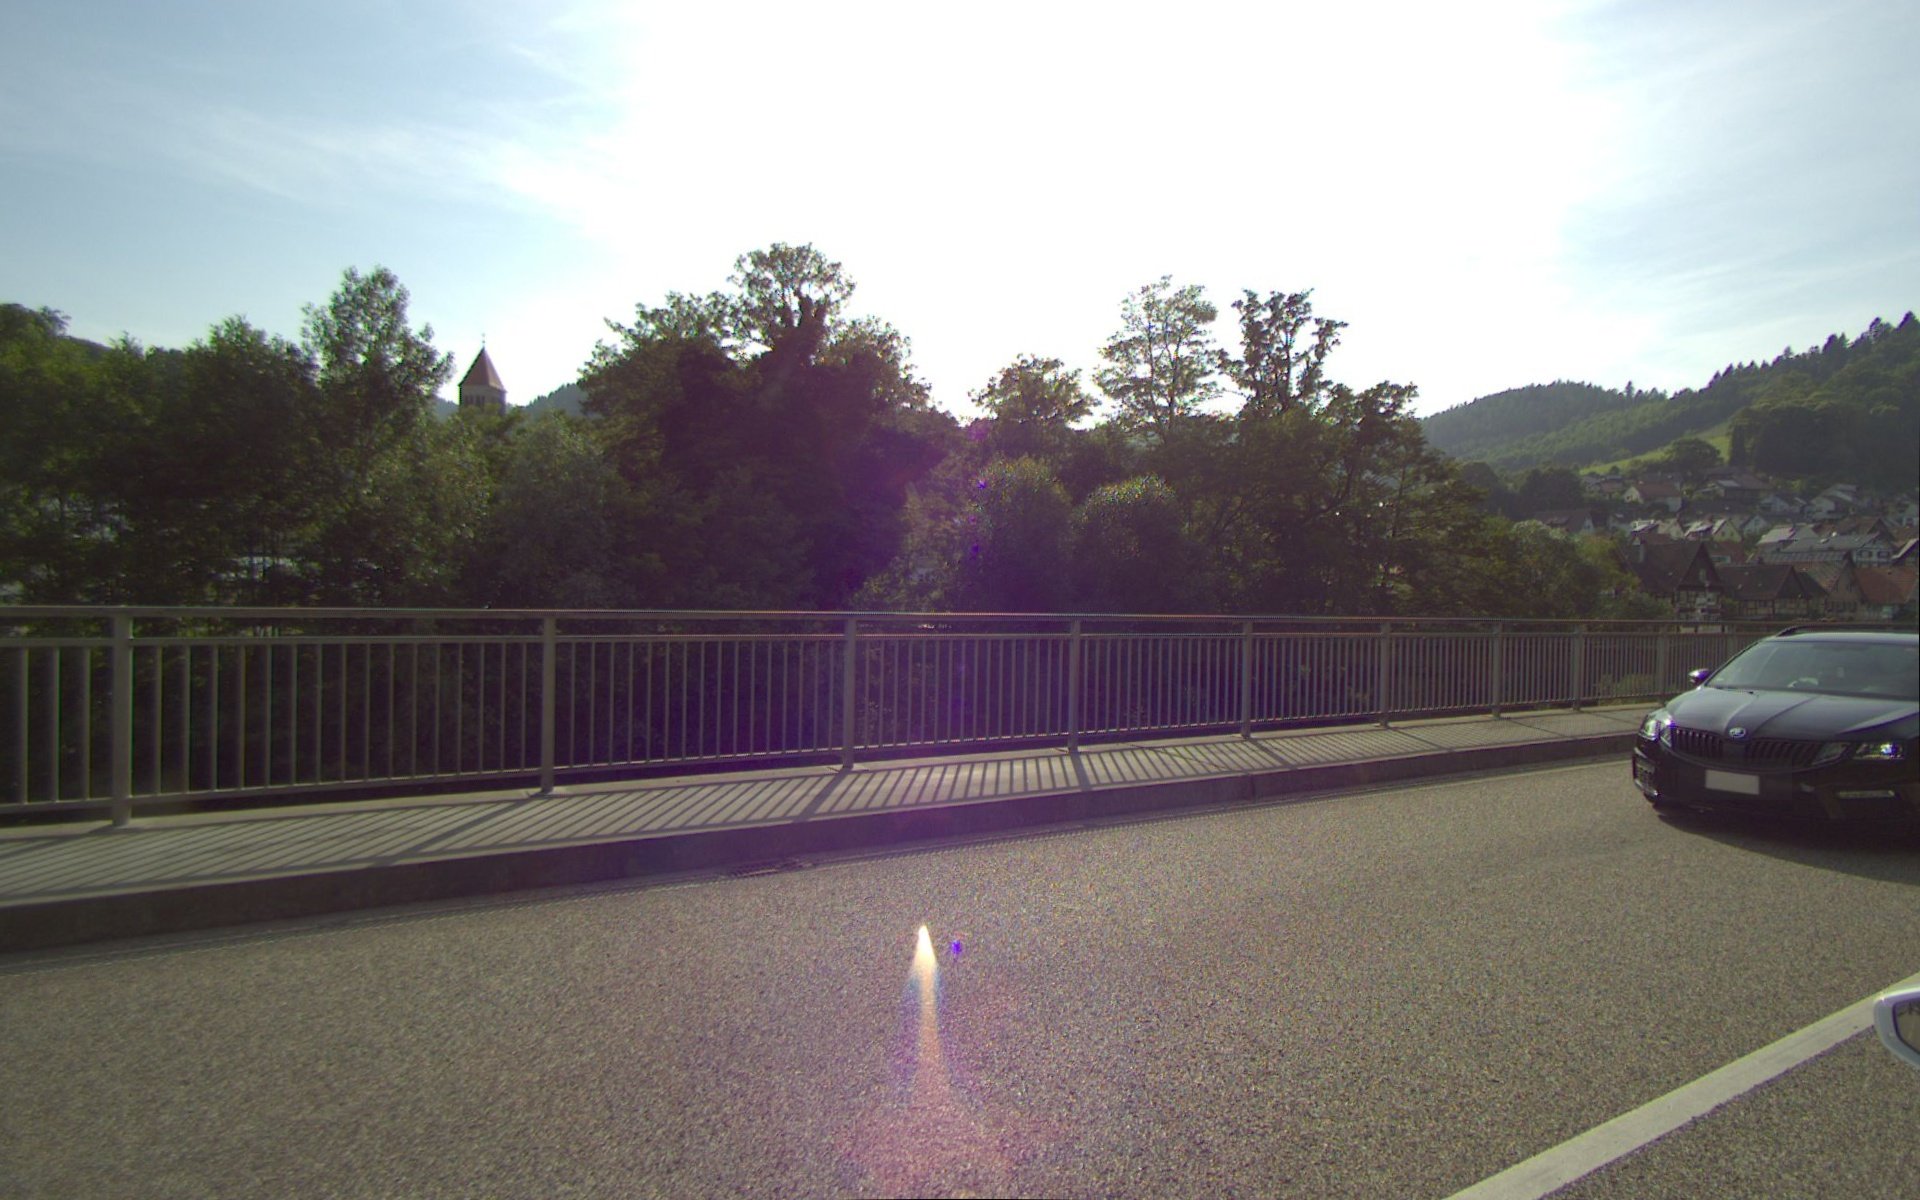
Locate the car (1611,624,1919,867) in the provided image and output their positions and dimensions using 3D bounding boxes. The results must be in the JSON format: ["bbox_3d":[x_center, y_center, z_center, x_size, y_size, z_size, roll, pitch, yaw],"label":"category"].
[{"bbox_3d":[7.205,0.947,8.015,4.291,1.454,1.711,1,-1,-32],"label":"car"}]
